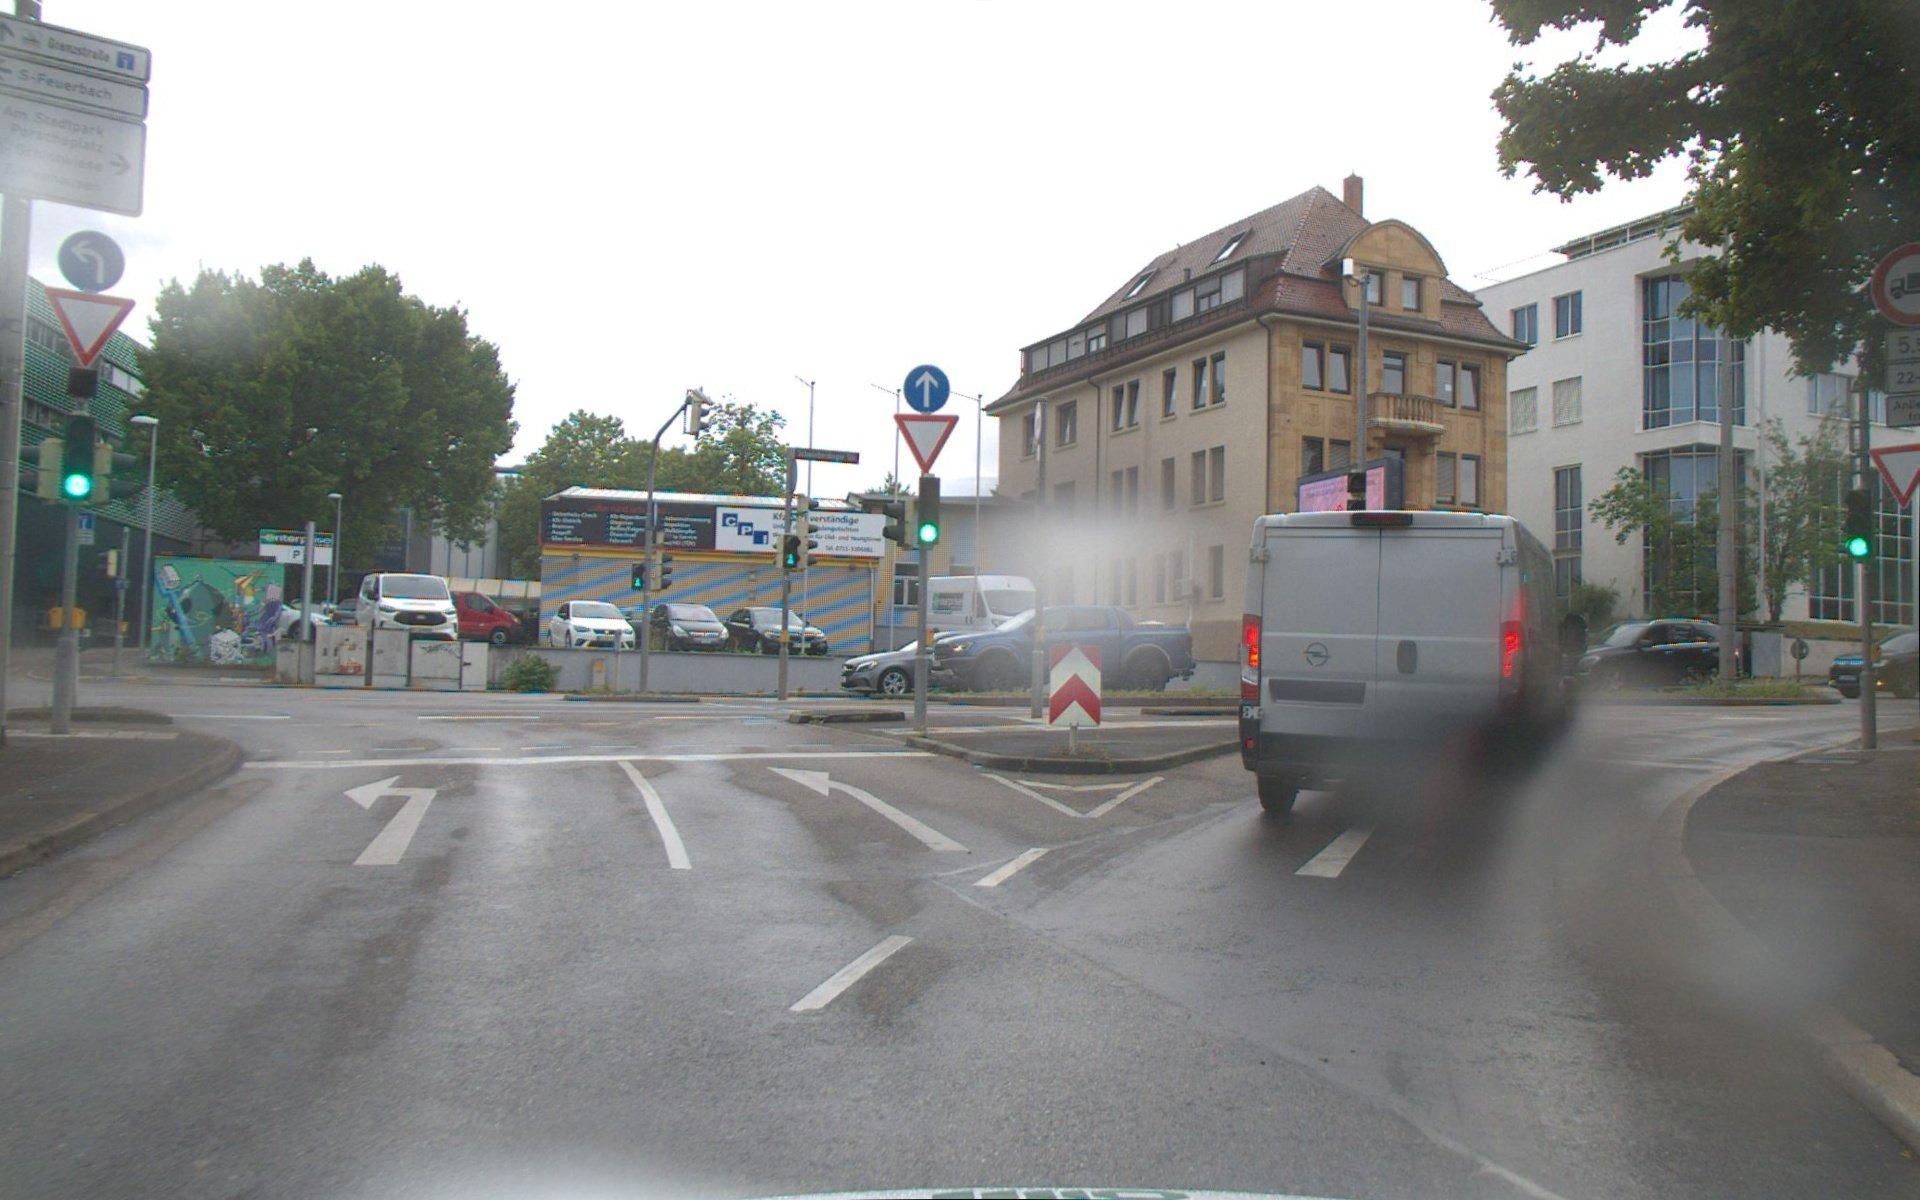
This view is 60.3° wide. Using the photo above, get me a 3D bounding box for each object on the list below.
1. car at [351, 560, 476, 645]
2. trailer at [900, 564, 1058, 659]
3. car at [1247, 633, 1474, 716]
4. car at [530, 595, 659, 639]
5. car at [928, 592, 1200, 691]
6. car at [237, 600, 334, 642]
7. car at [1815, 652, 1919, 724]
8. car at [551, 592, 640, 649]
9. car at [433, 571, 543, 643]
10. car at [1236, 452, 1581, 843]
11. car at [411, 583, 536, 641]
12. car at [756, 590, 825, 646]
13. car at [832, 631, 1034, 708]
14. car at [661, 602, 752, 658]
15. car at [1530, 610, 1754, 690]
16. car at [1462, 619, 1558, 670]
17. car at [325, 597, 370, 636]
[{"bbox_3d":[-14.031,0.148,42.272,2.187,1.833,5.323,3,-4,-27],"label":"car"},{"bbox_3d":[0.449,0.444,50.248,2.353,2.471,7.074,3,-4,-21],"label":"trailer"},{"bbox_3d":[8.325,1.575,34.402,4.363,1.558,1.800,3,-4,-21],"label":"car"},{"bbox_3d":[-12.567,0.601,57.024,4.247,1.431,1.370,0,-3,-10],"label":"car"},{"bbox_3d":[2.057,0.866,32.862,5.077,1.851,1.928,1,-3,-20],"label":"car"},{"bbox_3d":[-20.886,0.665,51.226,2.679,1.124,1.188,3,-4,-26],"label":"car"},{"bbox_3d":[23.103,2.162,39.966,4.645,1.633,1.683,3,-4,-21],"label":"car"},{"bbox_3d":[-9.753,0.533,44.043,1.839,1.393,3.602,2,-1,-20],"label":"car"},{"bbox_3d":[-18.150,0.303,63.728,3.906,2.542,1.648,2,-4,-14],"label":"car"},{"bbox_3d":[3.857,0.296,13.501,2.009,2.560,4.942,2,0,23],"label":"car"},{"bbox_3d":[-17.734,0.463,60.521,4.223,1.894,1.734,2,-4,-14],"label":"car"},{"bbox_3d":[-4.618,0.482,44.841,1.205,1.449,2.671,2,-1,-20],"label":"car"},{"bbox_3d":[-0.575,1.511,35.189,3.998,1.485,1.537,3,-4,-21],"label":"car"},{"bbox_3d":[-6.790,0.774,43.996,1.710,1.393,3.602,2,-1,-20],"label":"car"},{"bbox_3d":[15.384,1.158,37.355,4.542,1.727,1.949,1,-3,-20],"label":"car"},{"bbox_3d":[19.714,1.615,59.324,1.688,1.705,3.028,3,-4,-24],"label":"car"},{"bbox_3d":[-23.017,0.633,62.209,1.187,1.326,2.332,2,-4,-11],"label":"car"}]
